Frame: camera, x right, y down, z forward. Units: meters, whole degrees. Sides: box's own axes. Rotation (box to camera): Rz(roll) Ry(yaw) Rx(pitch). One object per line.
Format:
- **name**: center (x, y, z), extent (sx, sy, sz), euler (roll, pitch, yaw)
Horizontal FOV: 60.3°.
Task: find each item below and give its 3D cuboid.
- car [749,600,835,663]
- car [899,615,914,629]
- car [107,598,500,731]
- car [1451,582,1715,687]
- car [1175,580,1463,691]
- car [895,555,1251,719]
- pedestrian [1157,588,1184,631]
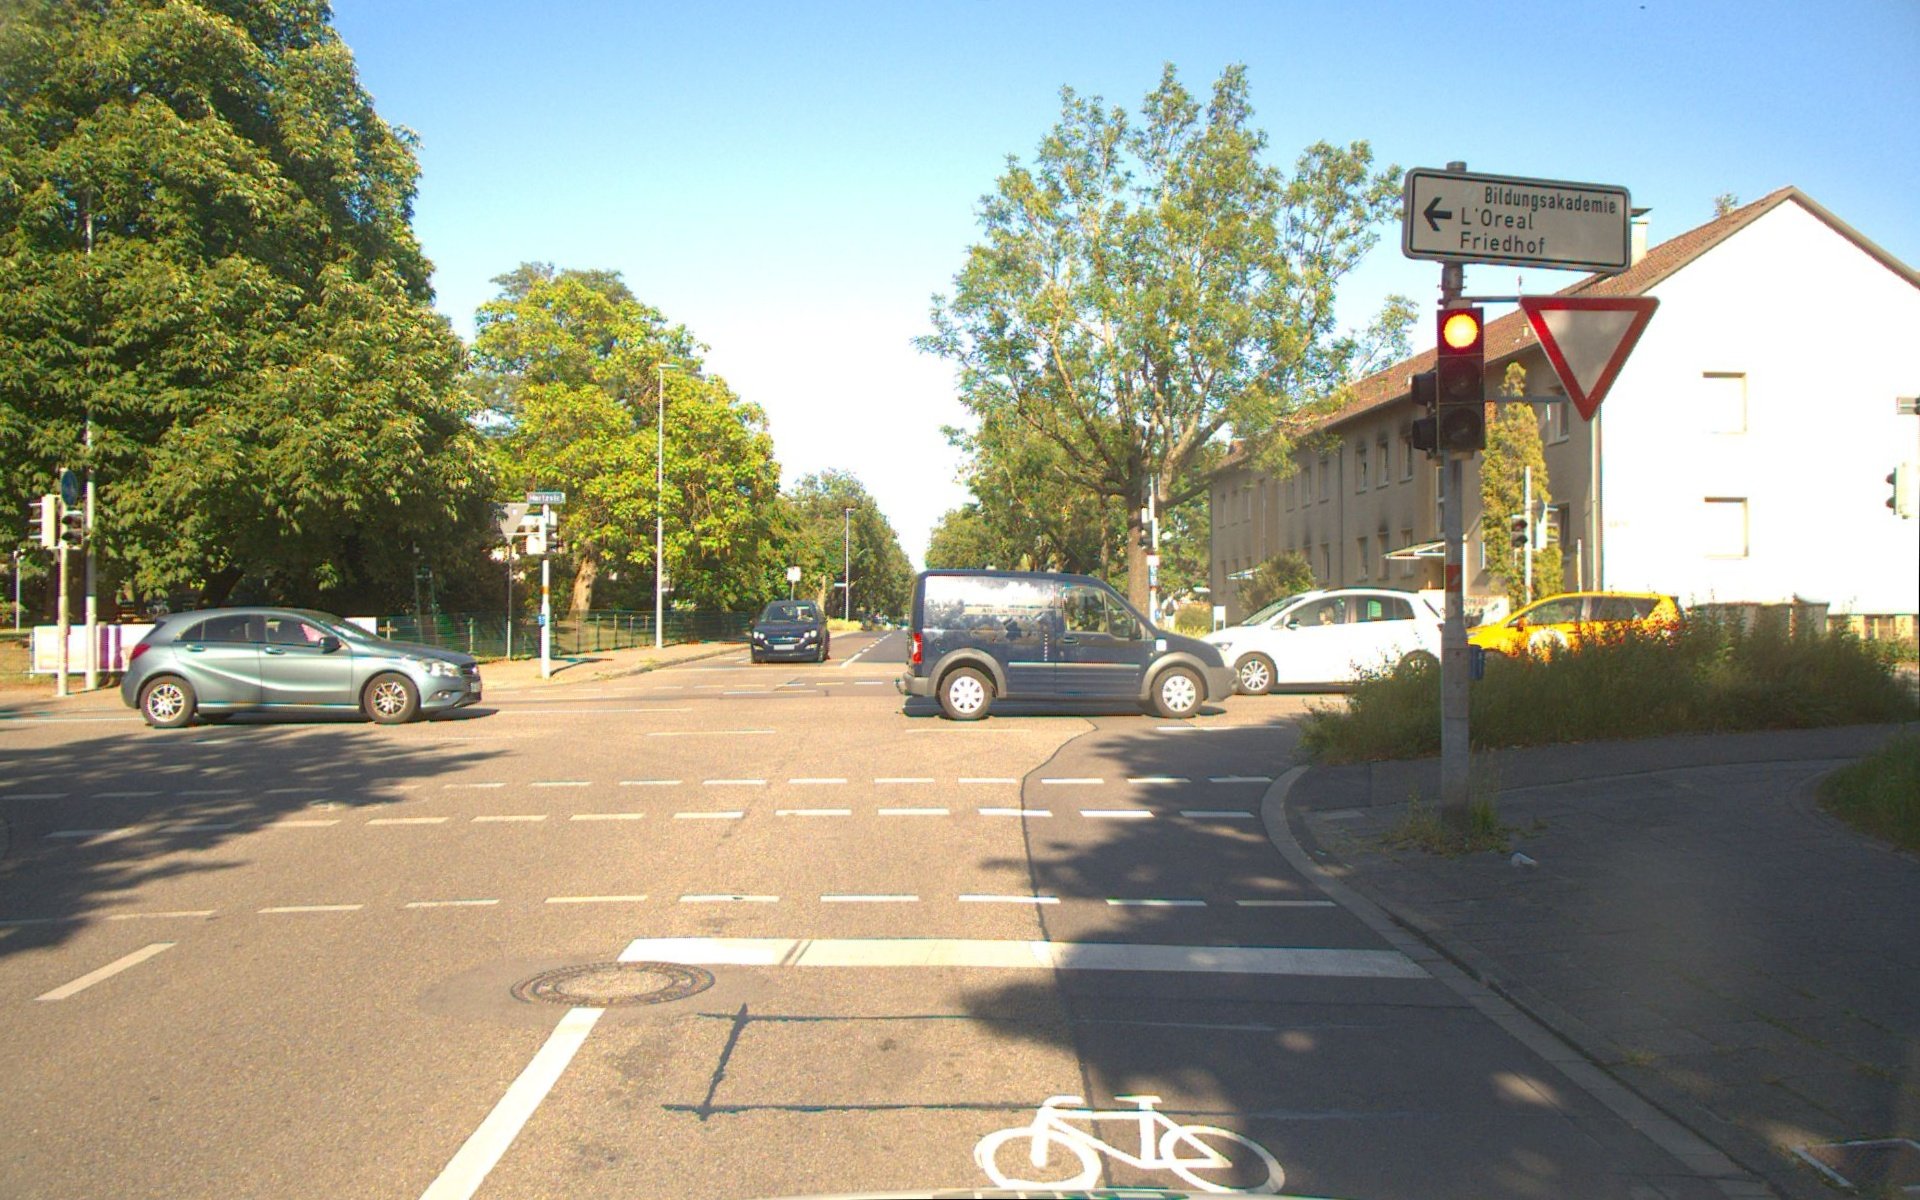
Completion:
- **car**: center (-3.970, 0.721, 39.450), extent (1.676, 1.410, 3.471), euler (0, 0, 0)
- **car**: center (-6.608, 2.670, 203.375), extent (1.722, 1.653, 3.268), euler (0, 0, 0)
- **car**: center (-8.188, 0.777, 20.962), extent (4.198, 1.515, 1.912), euler (-1, 0, -3)
- **car**: center (10.158, 0.546, 27.247), extent (3.902, 1.610, 1.758), euler (1, -1, 16)
- **car**: center (5.484, 0.541, 25.560), extent (4.025, 1.591, 1.756), euler (1, -1, -4)
- **car**: center (1.348, 0.436, 20.916), extent (4.260, 1.920, 1.858), euler (-1, 0, -5)
- **pedestrian**: center (7.726, 0.339, 60.666), extent (0.825, 1.519, 0.924), euler (2, 0, -1)
